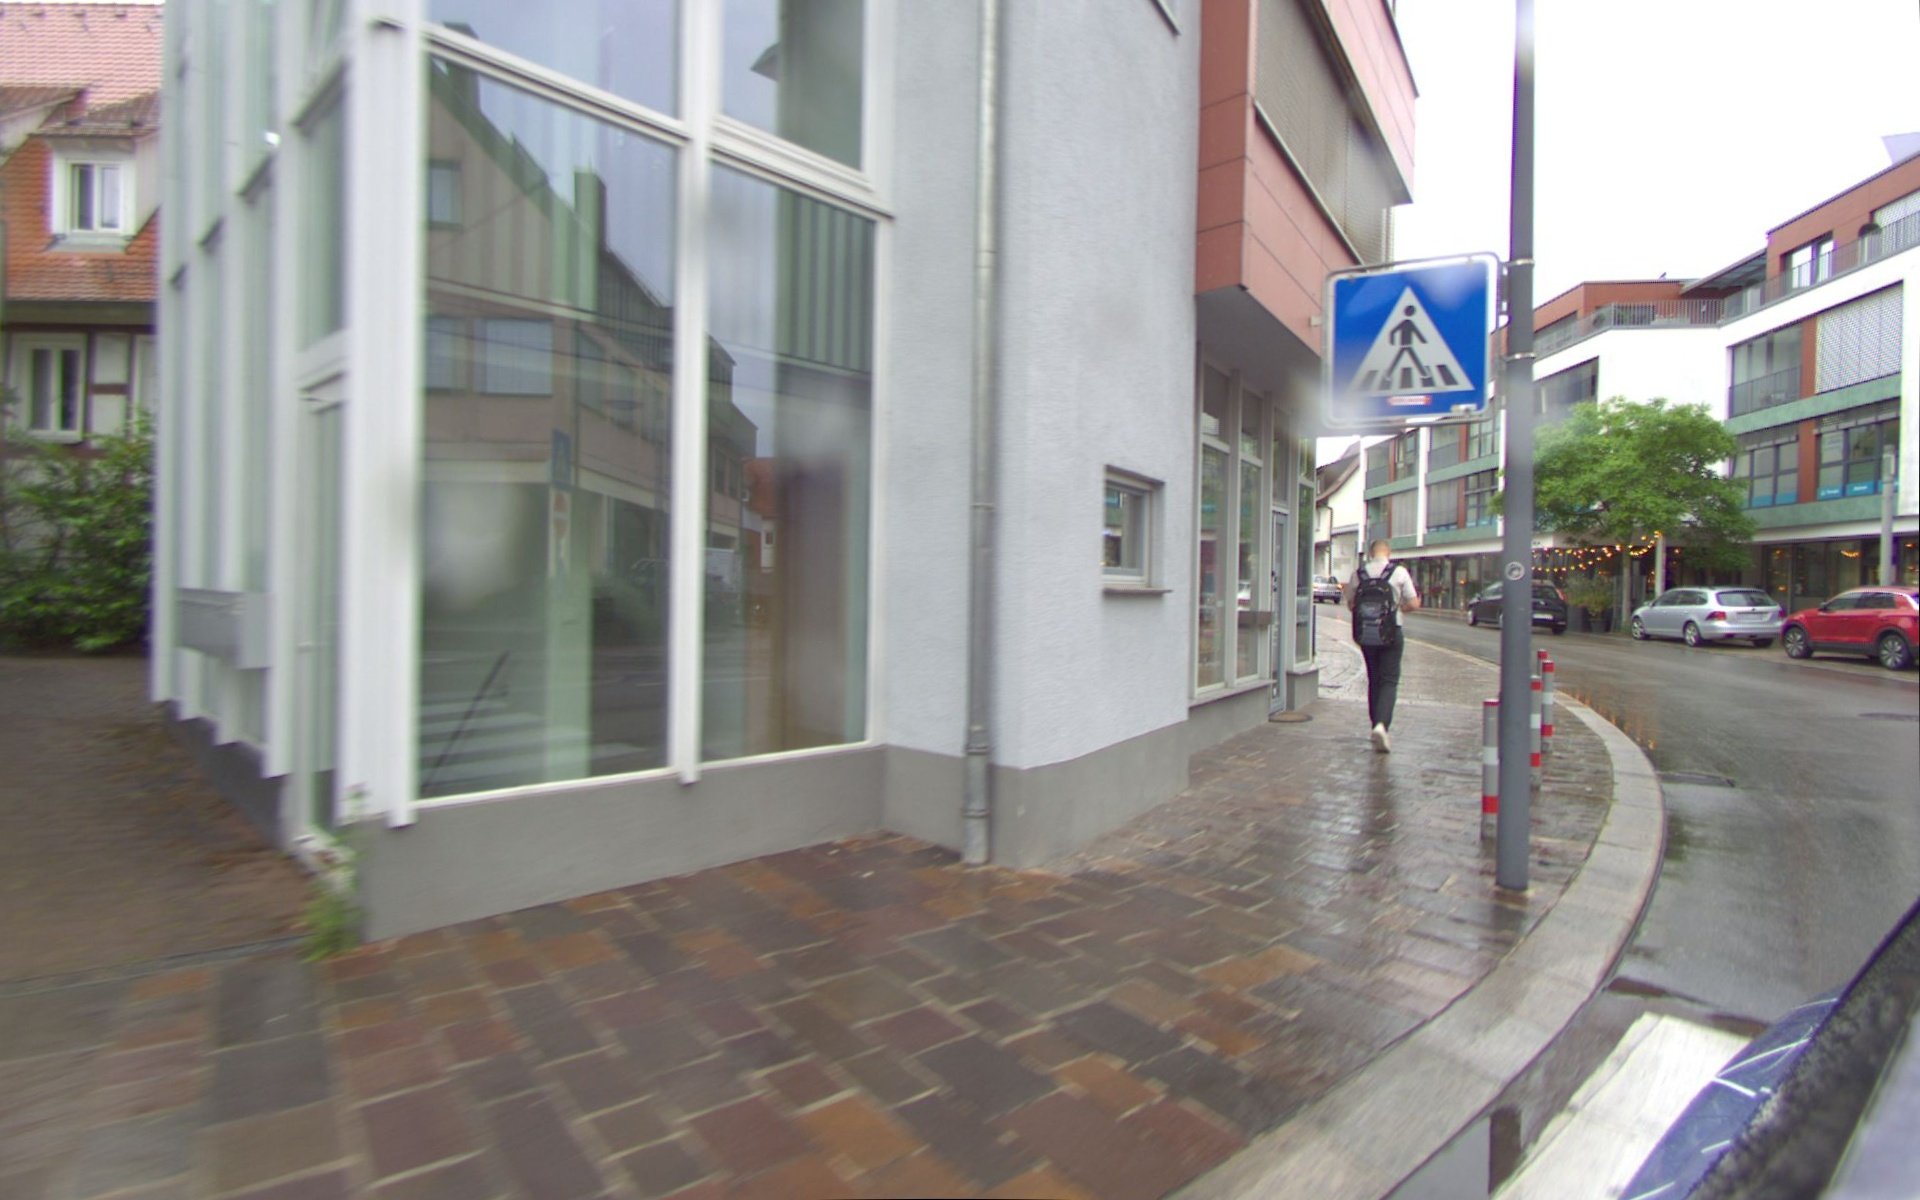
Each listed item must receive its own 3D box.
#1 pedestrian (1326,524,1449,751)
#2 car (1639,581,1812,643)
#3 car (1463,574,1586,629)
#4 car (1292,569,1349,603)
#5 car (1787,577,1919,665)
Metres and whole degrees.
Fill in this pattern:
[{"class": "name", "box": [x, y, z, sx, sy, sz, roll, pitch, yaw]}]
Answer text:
[{"class": "pedestrian", "box": [3.751, 0.291, 8.838, 0.816, 1.828, 1.134, 0, 1, 32]}, {"class": "car", "box": [18.936, 0.248, 25.258, 1.697, 1.412, 3.855, 0, 1, 6]}, {"class": "car", "box": [16.823, 0.001, 30.409, 1.757, 1.483, 4.502, 1, 1, 9]}, {"class": "car", "box": [18.562, -0.757, 52.308, 1.746, 1.428, 3.735, -1, 6, 3]}, {"class": "car", "box": [18.339, 0.341, 19.617, 1.773, 1.574, 3.912, 0, 1, 8]}]
